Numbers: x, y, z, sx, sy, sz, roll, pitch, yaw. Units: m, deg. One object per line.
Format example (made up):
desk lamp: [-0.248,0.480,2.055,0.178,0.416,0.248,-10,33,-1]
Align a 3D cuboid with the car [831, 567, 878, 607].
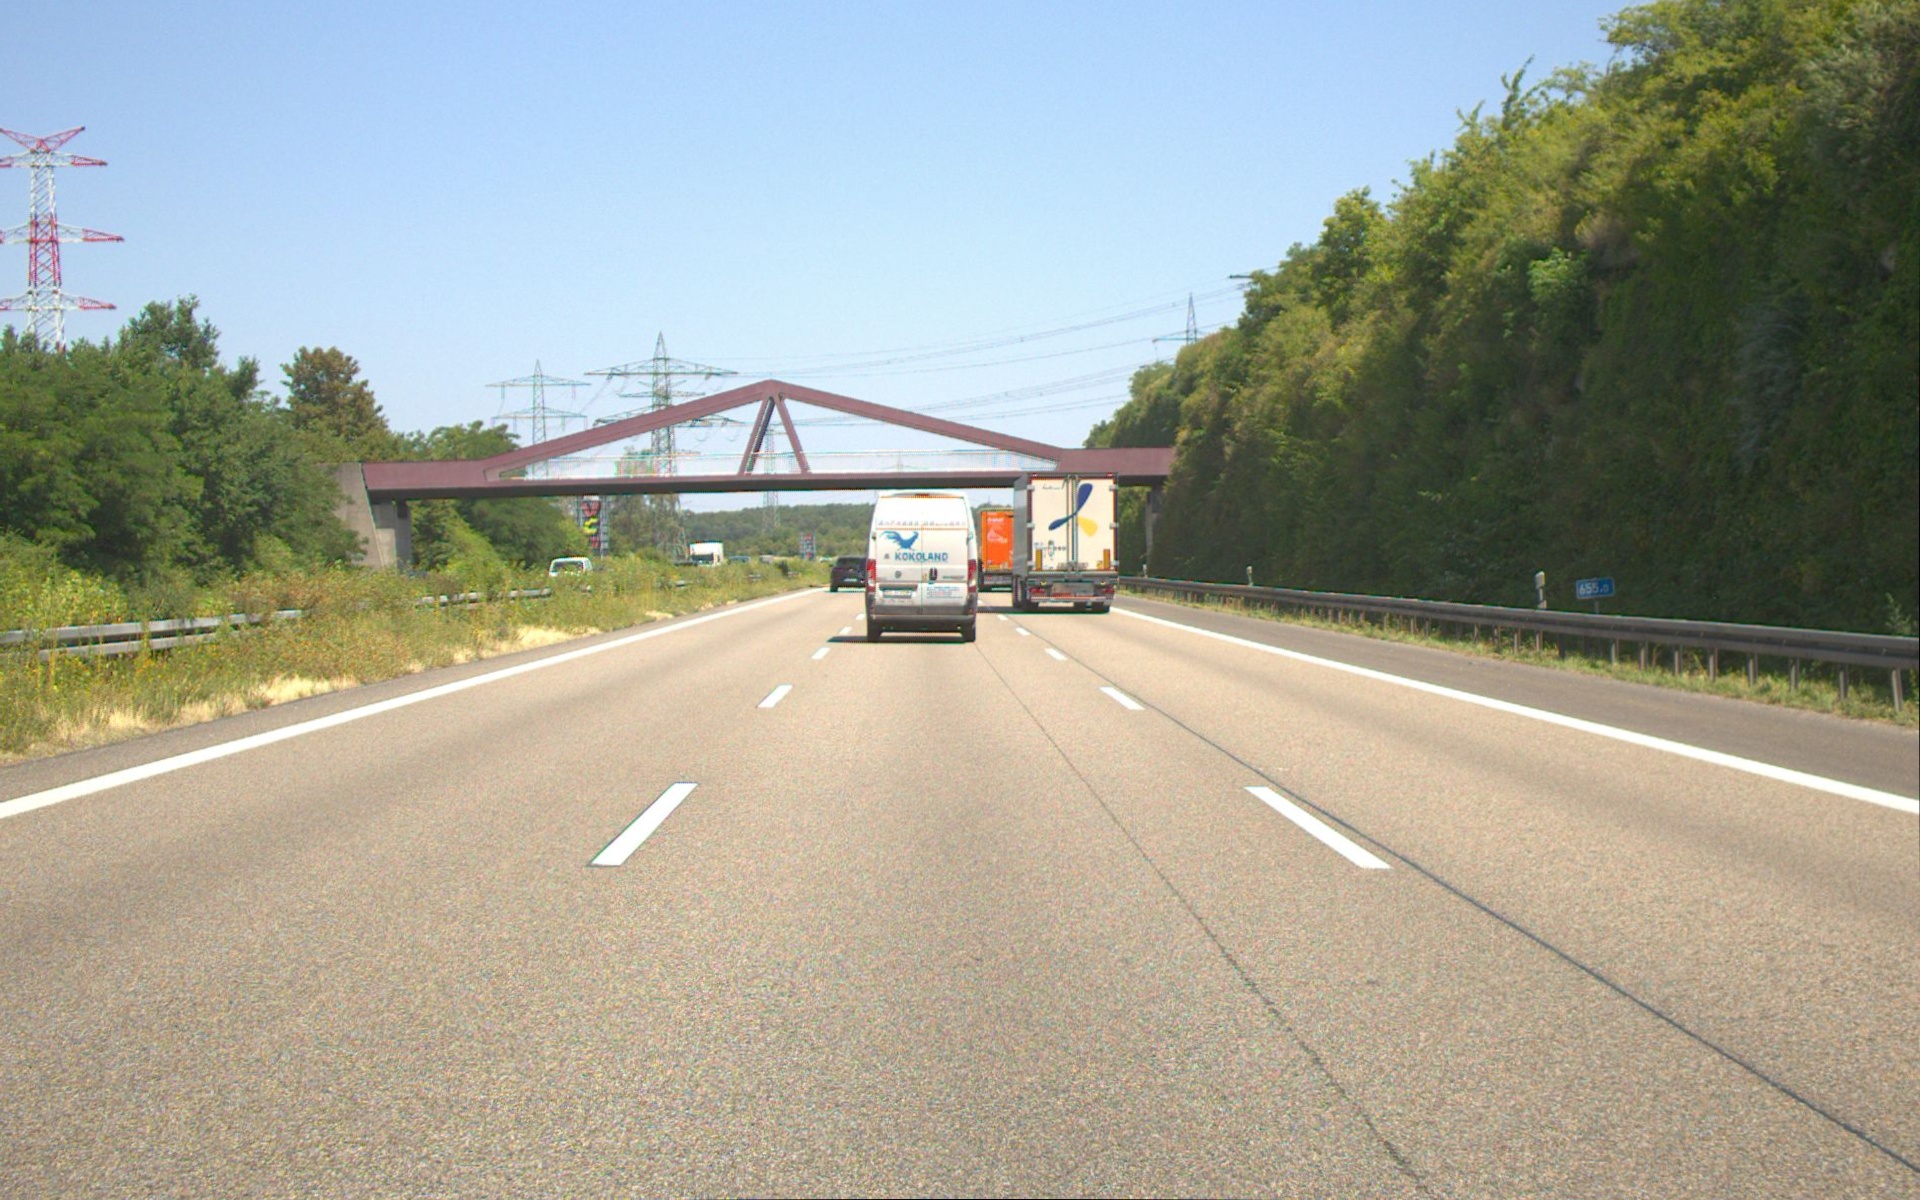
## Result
car: [-5.009,-0.628,163.634,1.982,1.811,3.813,1,1,1]

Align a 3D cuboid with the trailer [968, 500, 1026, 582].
trailer: [1.762,-2.862,167.589,2.637,3.883,7.069,1,1,0]

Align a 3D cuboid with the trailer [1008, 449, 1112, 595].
trailer: [2.915,-2.290,103.292,2.637,4.046,12.366,1,1,0]

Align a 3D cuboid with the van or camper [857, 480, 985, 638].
van or camper: [-0.753,-0.774,64.389,2.230,2.772,5.423,1,1,-1]
